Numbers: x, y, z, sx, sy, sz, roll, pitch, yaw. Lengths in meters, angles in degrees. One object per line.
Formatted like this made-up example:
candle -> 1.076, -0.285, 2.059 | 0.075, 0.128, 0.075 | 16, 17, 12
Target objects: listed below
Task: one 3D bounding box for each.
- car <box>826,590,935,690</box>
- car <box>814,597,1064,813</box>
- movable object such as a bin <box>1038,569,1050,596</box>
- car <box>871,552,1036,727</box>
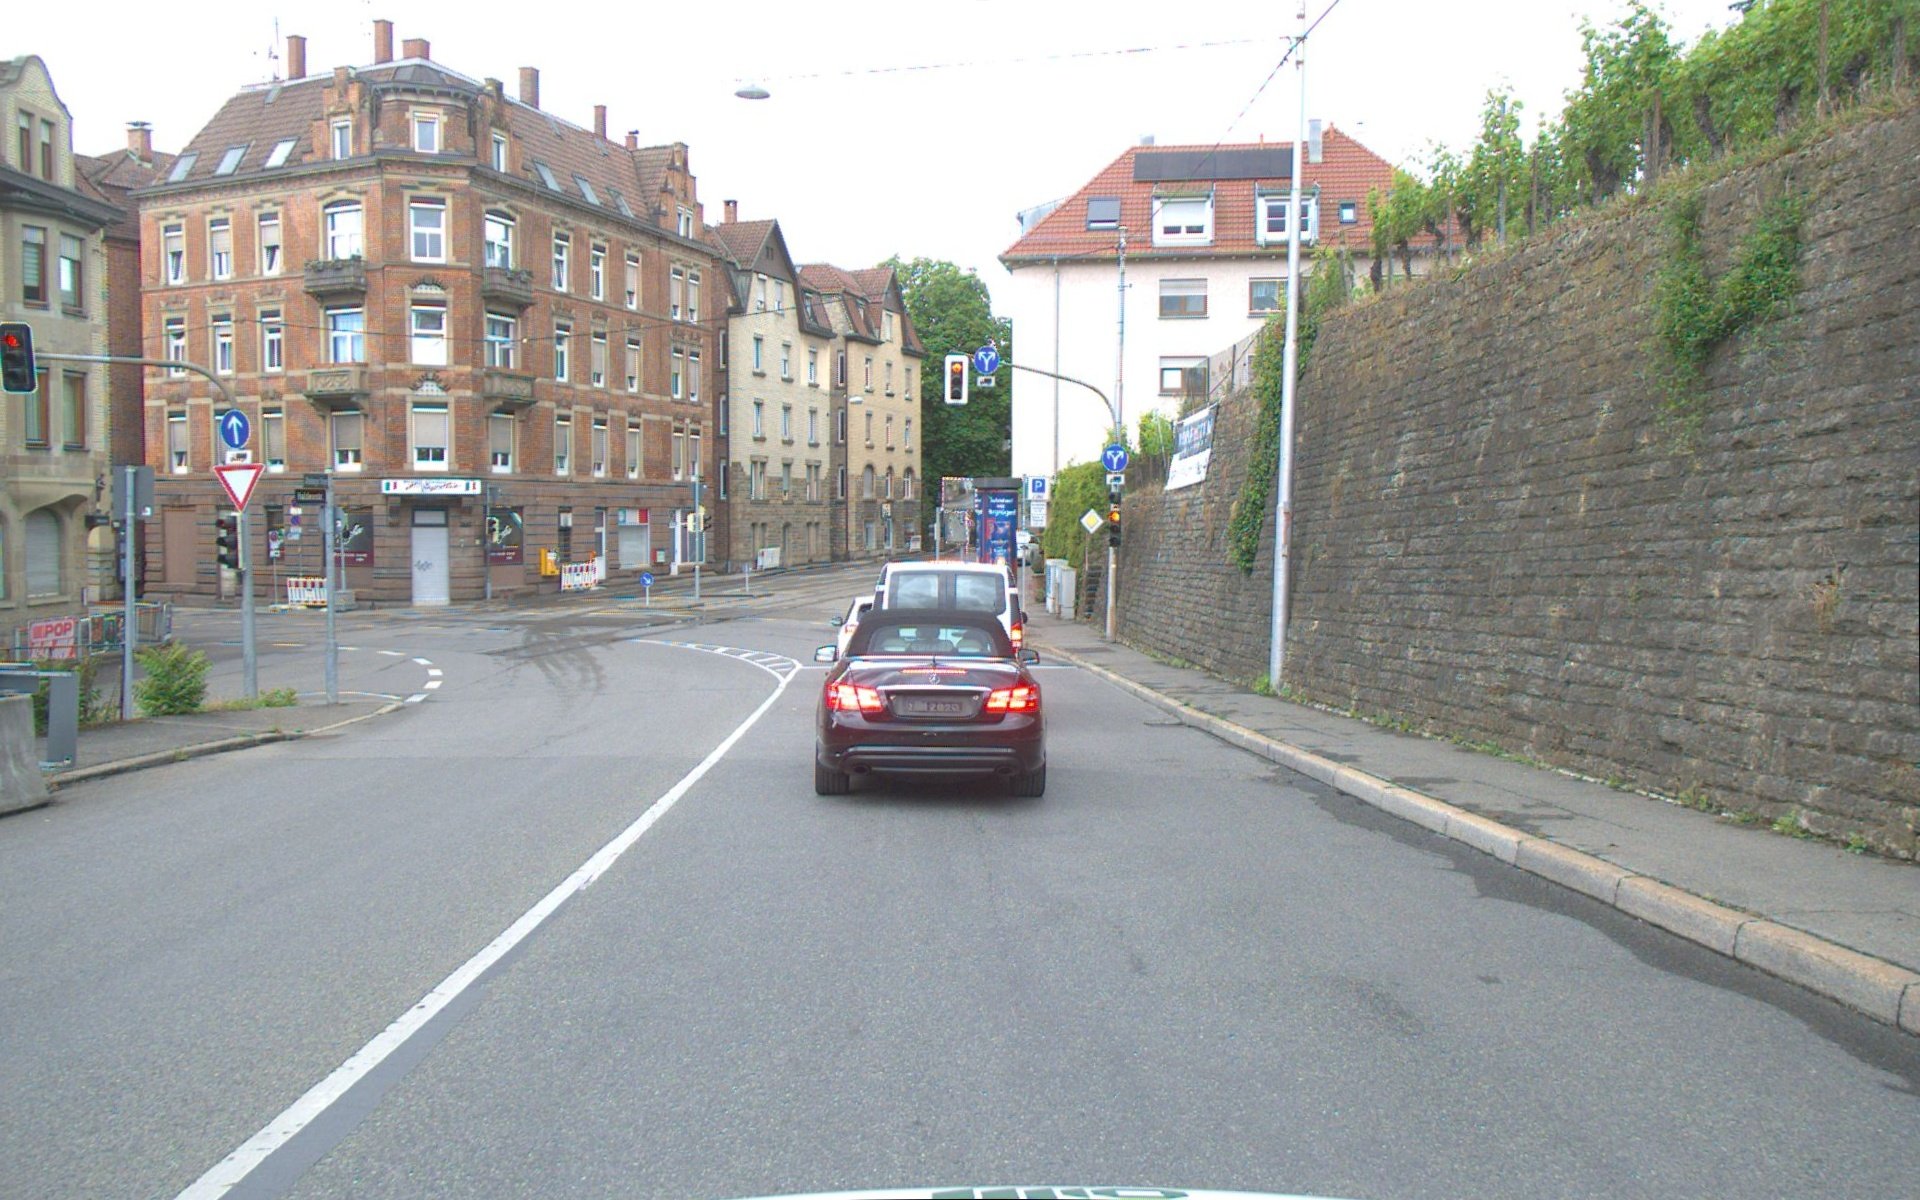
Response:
car -> -1.225, 0.598, 26.992 | 1.647, 1.491, 3.918 | 0, 1, -1
car -> -0.175, 0.727, 13.755 | 1.726, 1.434, 4.398 | -1, 1, -1
movable object such as a bin -> 2.871, -0.601, 56.778 | 0.337, 0.927, 0.494 | 0, 1, -7
car -> -0.110, 0.415, 20.894 | 1.853, 1.962, 4.644 | 0, 1, -1
